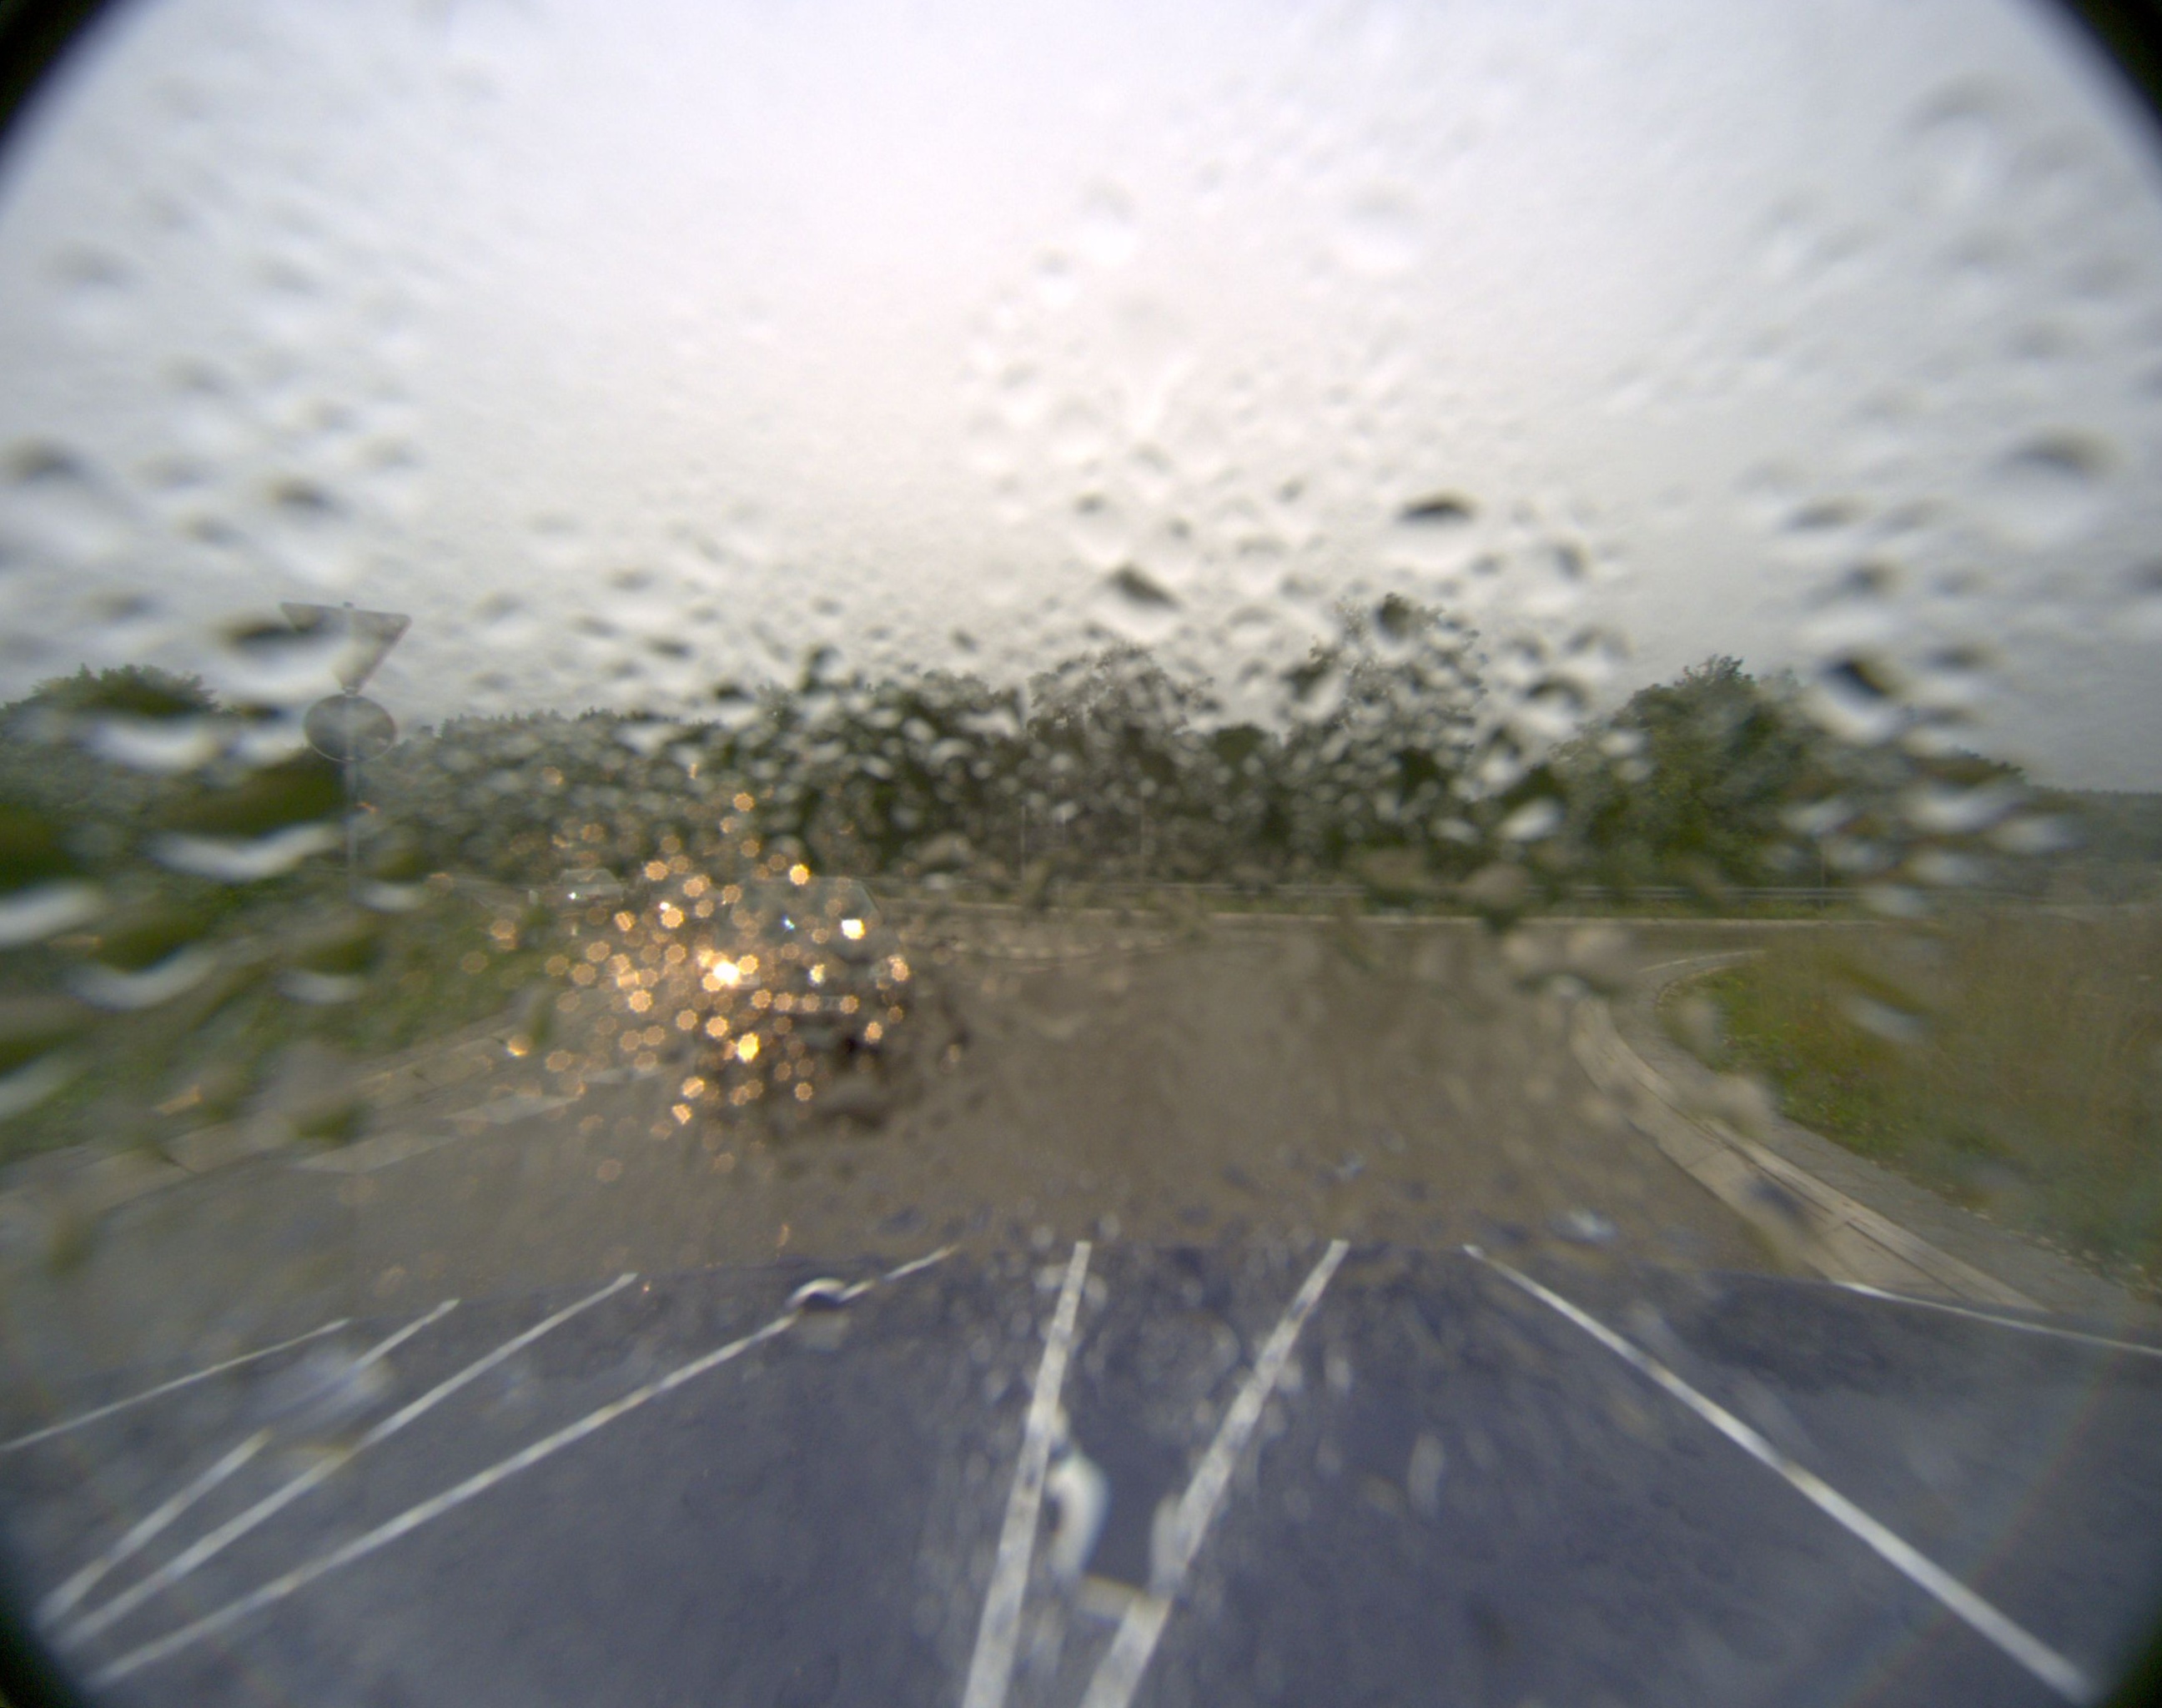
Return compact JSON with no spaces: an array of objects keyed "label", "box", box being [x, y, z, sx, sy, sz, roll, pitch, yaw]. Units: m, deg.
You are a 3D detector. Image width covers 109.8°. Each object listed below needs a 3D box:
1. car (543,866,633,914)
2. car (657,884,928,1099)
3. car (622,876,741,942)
[{"label":"car","box":[-16.189,1.121,24.863,1.768,1.412,4.491,0,-1,-42]},{"label":"car","box":[-2.884,1.060,7.768,1.876,1.412,4.496,0,-1,-21]},{"label":"car","box":[-9.882,1.240,18.611,1.954,1.363,4.492,0,-1,-36]}]
